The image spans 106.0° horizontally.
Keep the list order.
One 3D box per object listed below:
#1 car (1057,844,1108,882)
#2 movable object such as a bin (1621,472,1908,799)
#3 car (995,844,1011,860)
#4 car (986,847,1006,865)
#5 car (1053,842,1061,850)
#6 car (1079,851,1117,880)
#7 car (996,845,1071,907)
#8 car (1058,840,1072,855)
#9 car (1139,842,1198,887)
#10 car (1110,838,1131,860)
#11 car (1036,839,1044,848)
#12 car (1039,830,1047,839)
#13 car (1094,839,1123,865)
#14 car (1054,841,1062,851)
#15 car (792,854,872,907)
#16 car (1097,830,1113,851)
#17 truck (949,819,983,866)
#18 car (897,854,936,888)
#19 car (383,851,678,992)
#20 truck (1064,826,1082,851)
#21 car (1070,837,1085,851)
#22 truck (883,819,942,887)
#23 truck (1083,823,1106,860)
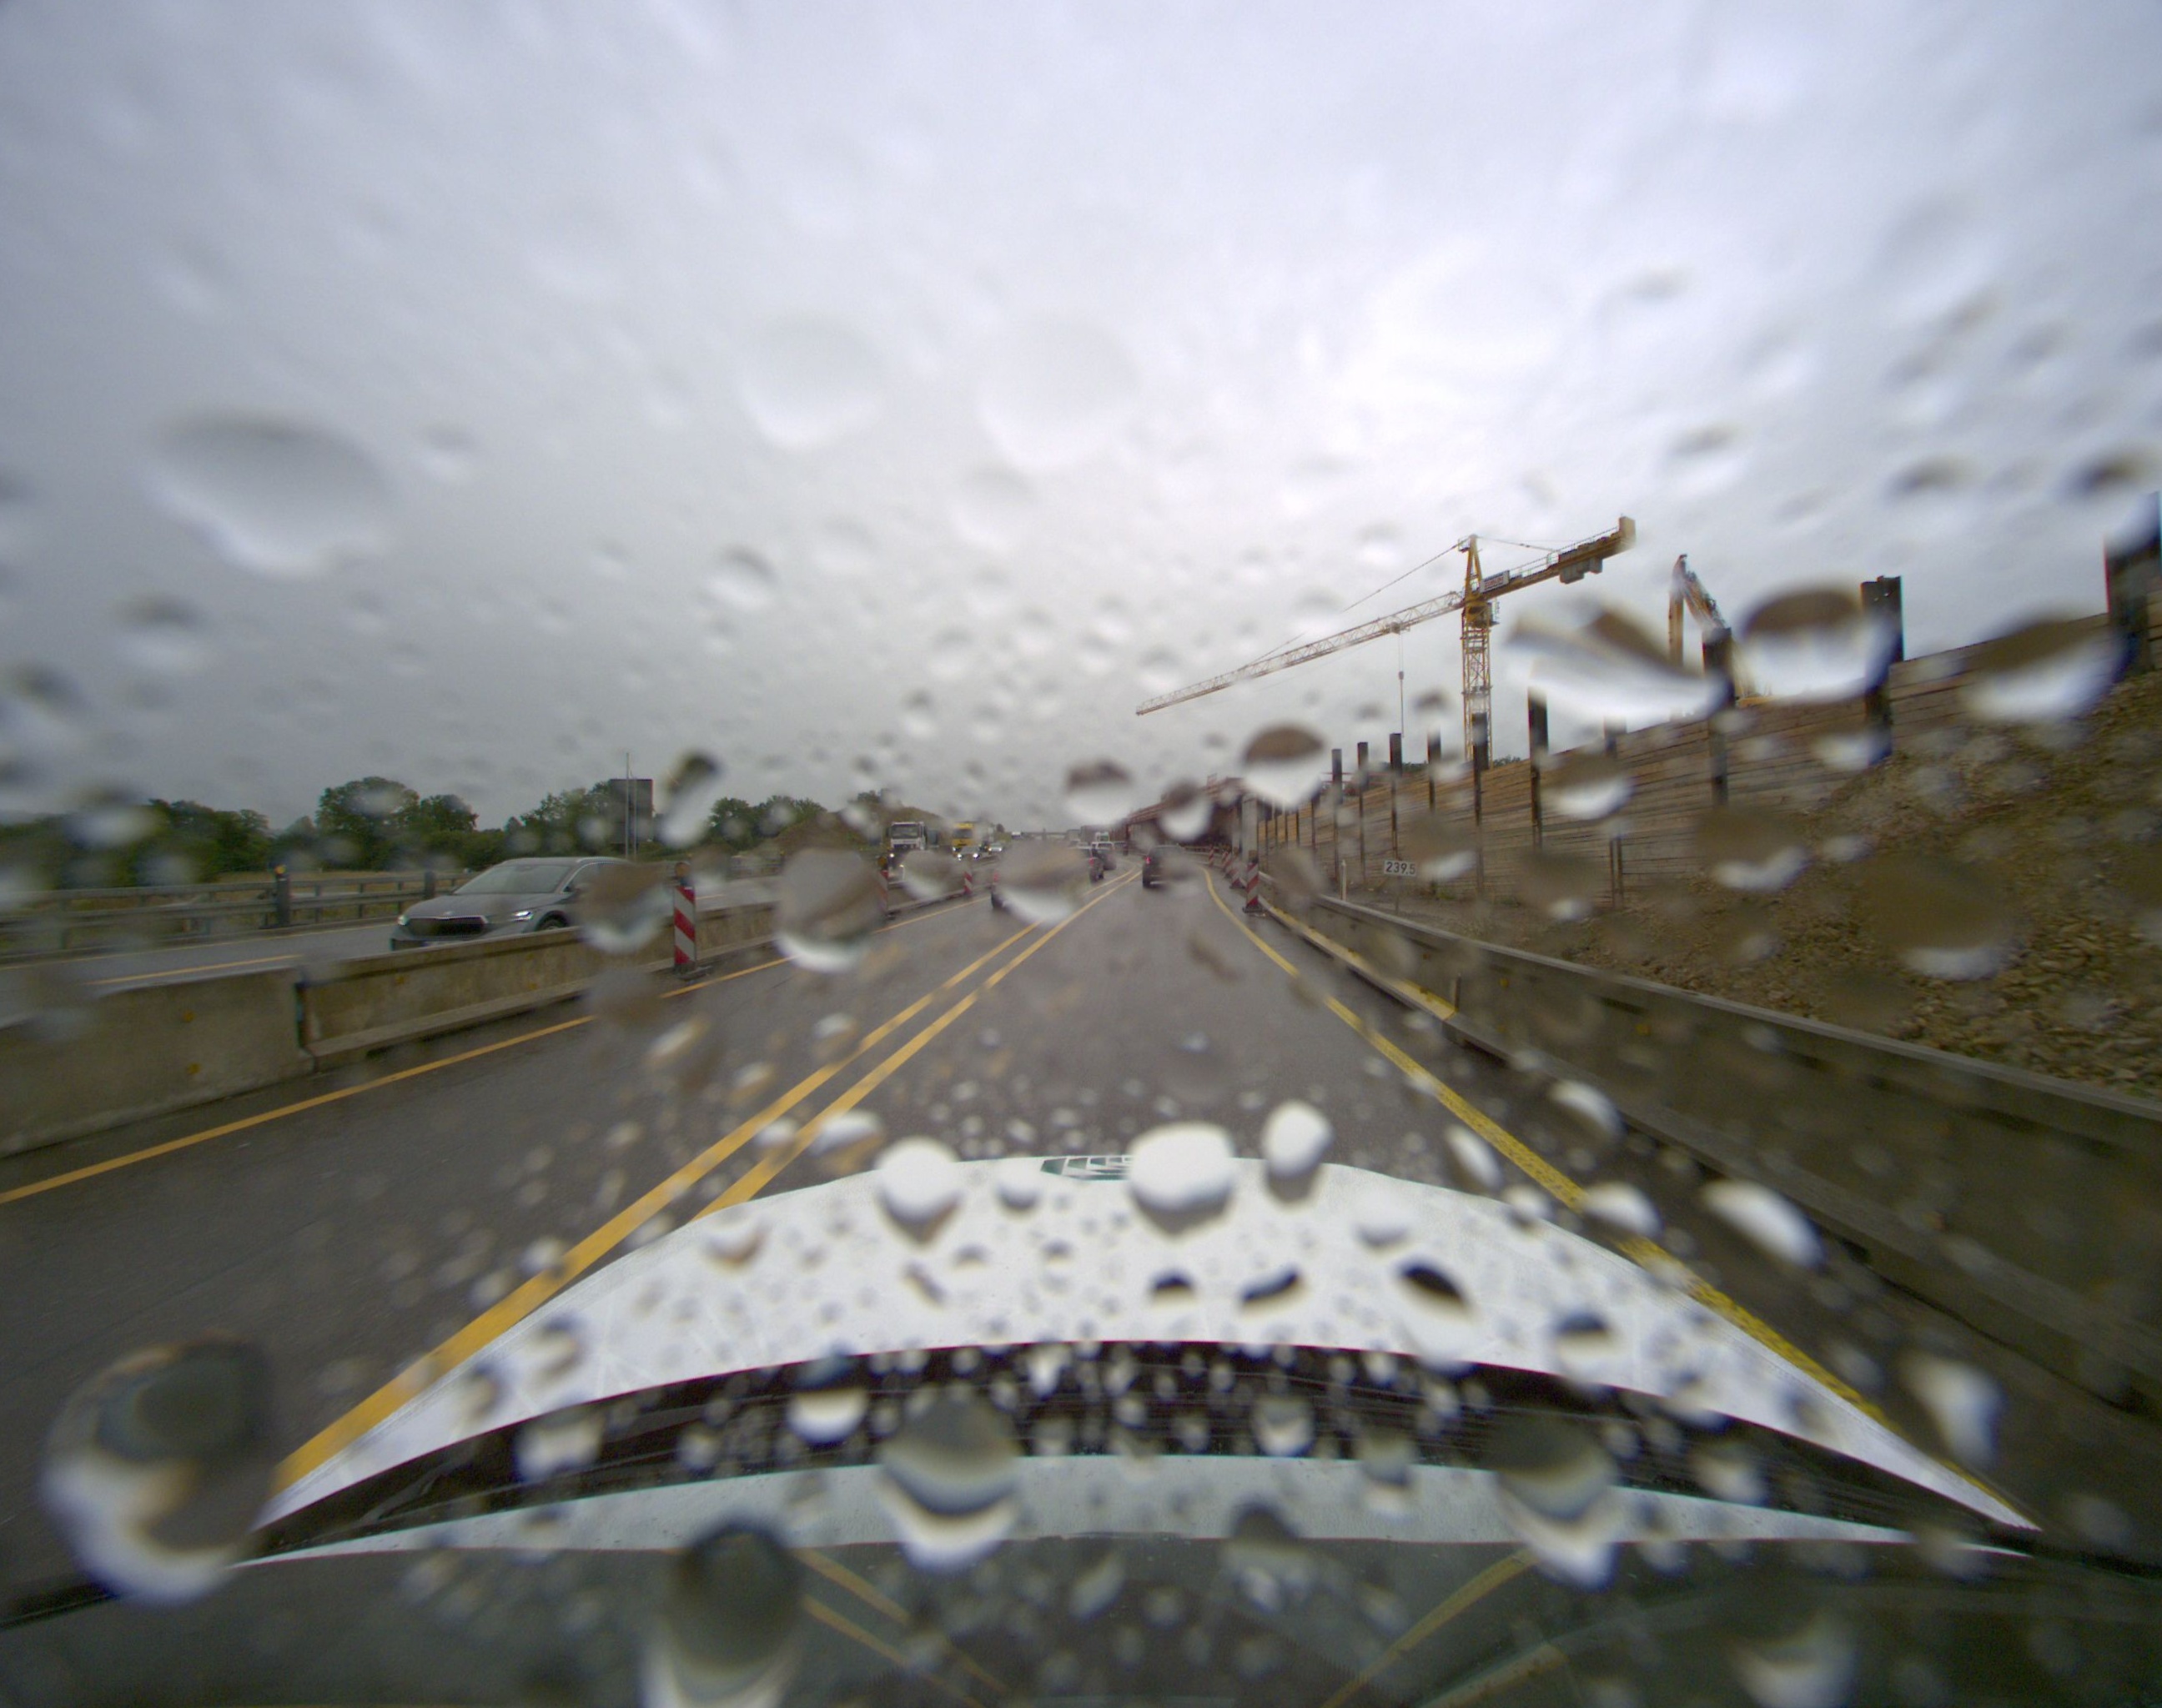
[{"bbox_3d":[0.135,0.477,38.145,1.984,1.601,4.146,-1,-3,6],"label":"car"},{"bbox_3d":[28.691,-8.460,35.406,4.687,10.845,10.333,-2,-3,11],"label":"movable object such as a bin"},{"bbox_3d":[-11.881,-0.299,124.610,2.211,2.370,4.659,0,-1,-2],"label":"car"},{"bbox_3d":[-11.197,0.302,107.495,2.233,2.359,4.872,0,-1,-2],"label":"car"},{"bbox_3d":[-6.343,-2.142,212.132,1.989,2.014,3.995,-2,-1,-3],"label":"car"},{"bbox_3d":[1.036,0.771,51.316,1.990,1.601,4.133,-1,-3,-4],"label":"car"},{"bbox_3d":[-1.292,0.669,23.827,1.809,1.601,4.308,-1,-2,2],"label":"car"},{"bbox_3d":[-2.695,-1.079,138.805,1.986,2.163,4.141,-1,-3,2],"label":"car"},{"bbox_3d":[3.374,0.467,32.171,2.072,1.601,4.143,-1,-3,3],"label":"car"},{"bbox_3d":[4.307,-0.529,89.618,1.988,2.163,4.137,-1,-3,-1],"label":"car"},{"bbox_3d":[-10.166,-2.544,200.526,1.989,2.014,3.994,-1,-3,-4],"label":"car"},{"bbox_3d":[-10.058,-5.033,214.948,1.989,2.014,3.994,-1,-3,-4],"label":"car"},{"bbox_3d":[2.200,-0.160,65.908,1.989,2.014,3.888,-1,-1,-4],"label":"car"},{"bbox_3d":[-5.358,-1.886,191.846,1.845,1.894,4.017,-1,-3,-2],"label":"car"},{"bbox_3d":[-9.146,1.032,30.253,1.781,1.810,4.493,-1,-3,-3],"label":"car"},{"bbox_3d":[3.328,-1.822,113.197,1.988,2.485,4.978,-1,-3,-1],"label":"car"},{"bbox_3d":[-14.139,-1.314,100.681,3.134,5.418,8.515,0,-1,-2],"label":"truck"},{"bbox_3d":[-9.437,1.019,46.988,1.619,1.810,3.633,-1,-3,-2],"label":"car"},{"bbox_3d":[-8.376,1.003,13.018,1.781,1.810,4.493,-1,-3,-3],"label":"car"},{"bbox_3d":[-1.995,-3.592,195.668,3.796,5.044,12.901,-1,-3,-4],"label":"truck"},{"bbox_3d":[-0.542,-1.524,122.118,1.990,1.762,3.808,-1,-3,-4],"label":"car"},{"bbox_3d":[-12.851,0.021,62.937,3.075,4.920,8.556,0,-1,-2],"label":"truck"},{"bbox_3d":[2.306,-1.967,133.073,3.087,5.427,9.452,-1,-3,5],"label":"truck"}]
